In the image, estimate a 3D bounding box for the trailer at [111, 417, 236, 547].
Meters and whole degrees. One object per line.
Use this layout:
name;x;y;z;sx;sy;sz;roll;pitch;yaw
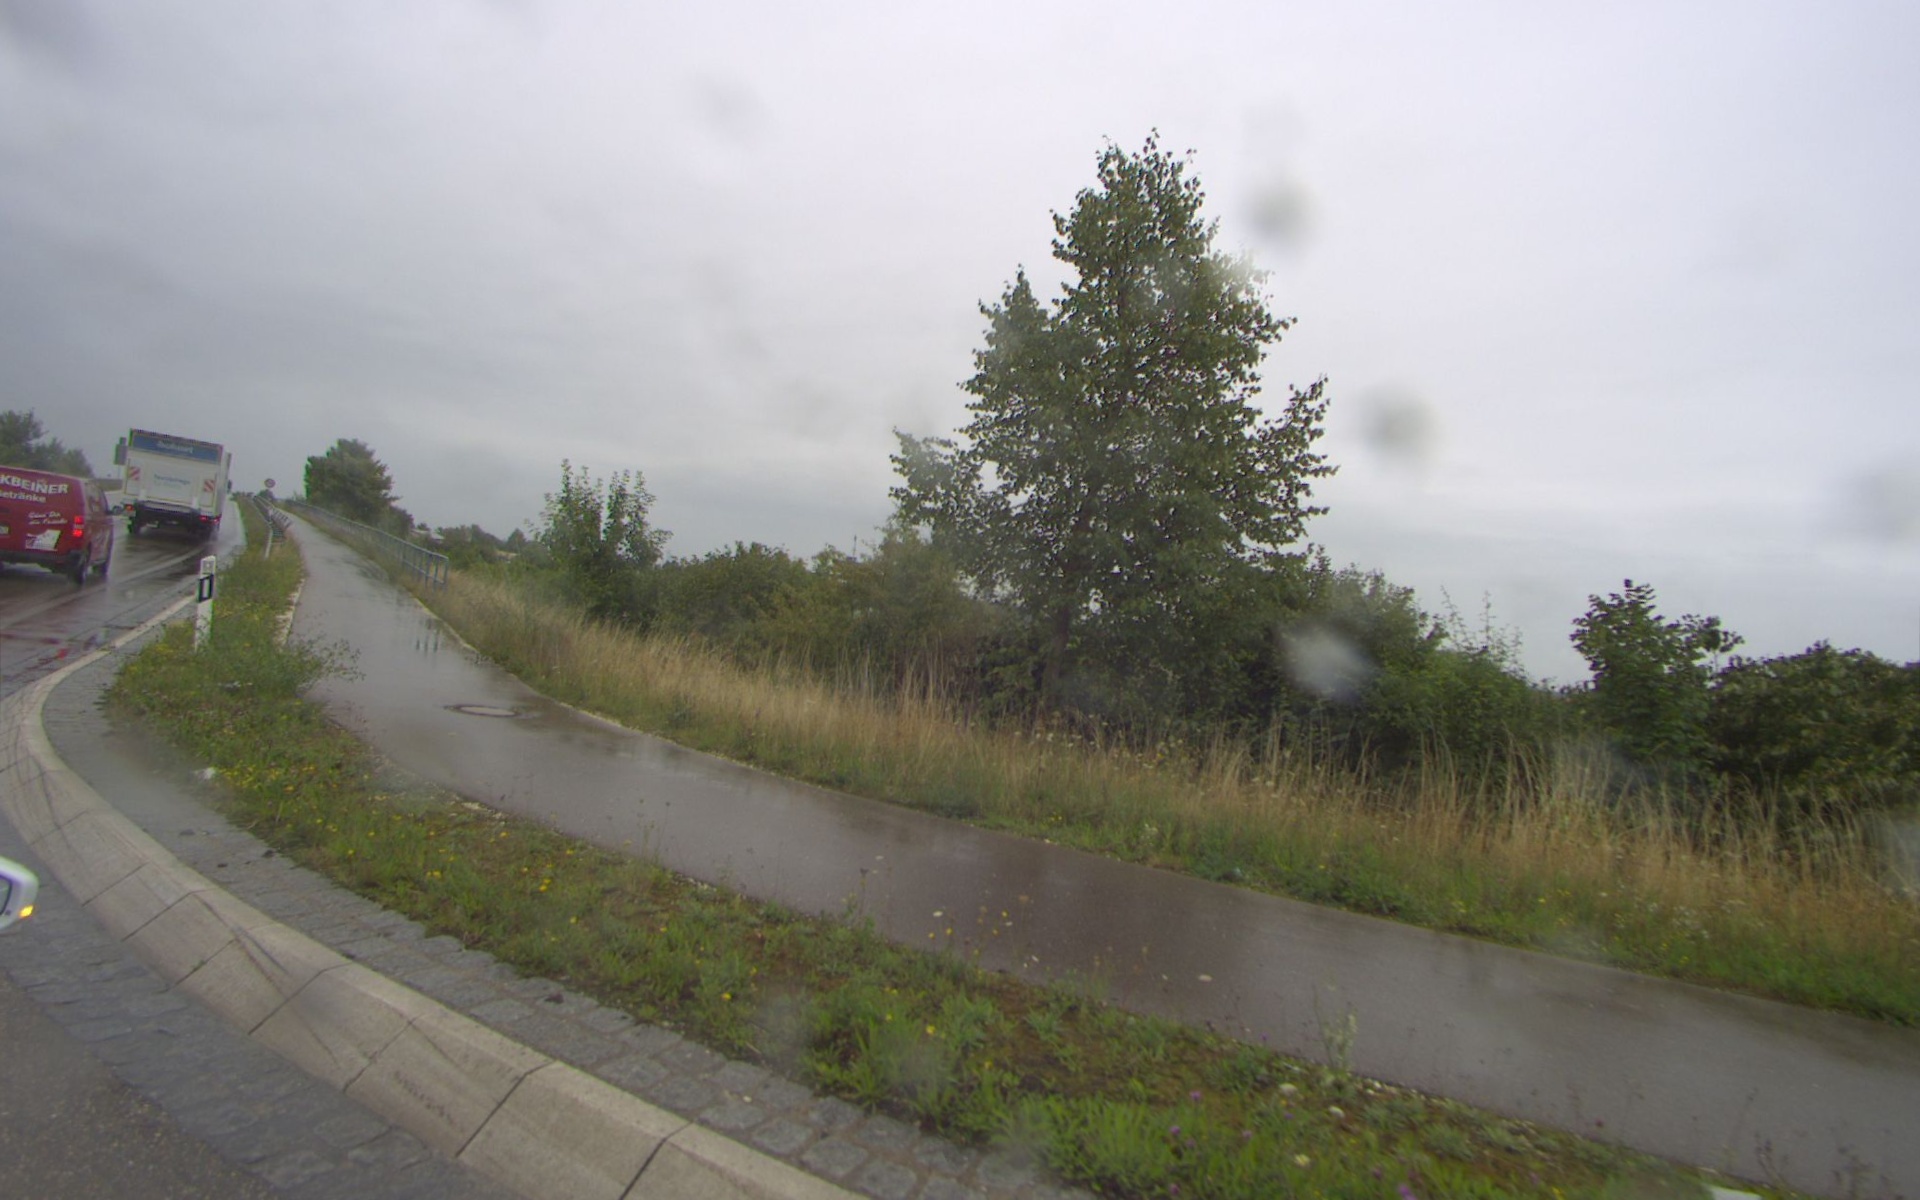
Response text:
trailer;-29.403;-4.321;37.982;2.816;3.866;9.619;7;0;-35

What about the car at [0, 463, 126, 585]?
car;-17.486;-1.533;19.184;1.983;1.894;4.927;7;1;-36

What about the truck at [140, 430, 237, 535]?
truck;-34.315;-5.153;44.983;2.784;3.866;7.612;7;1;-36
